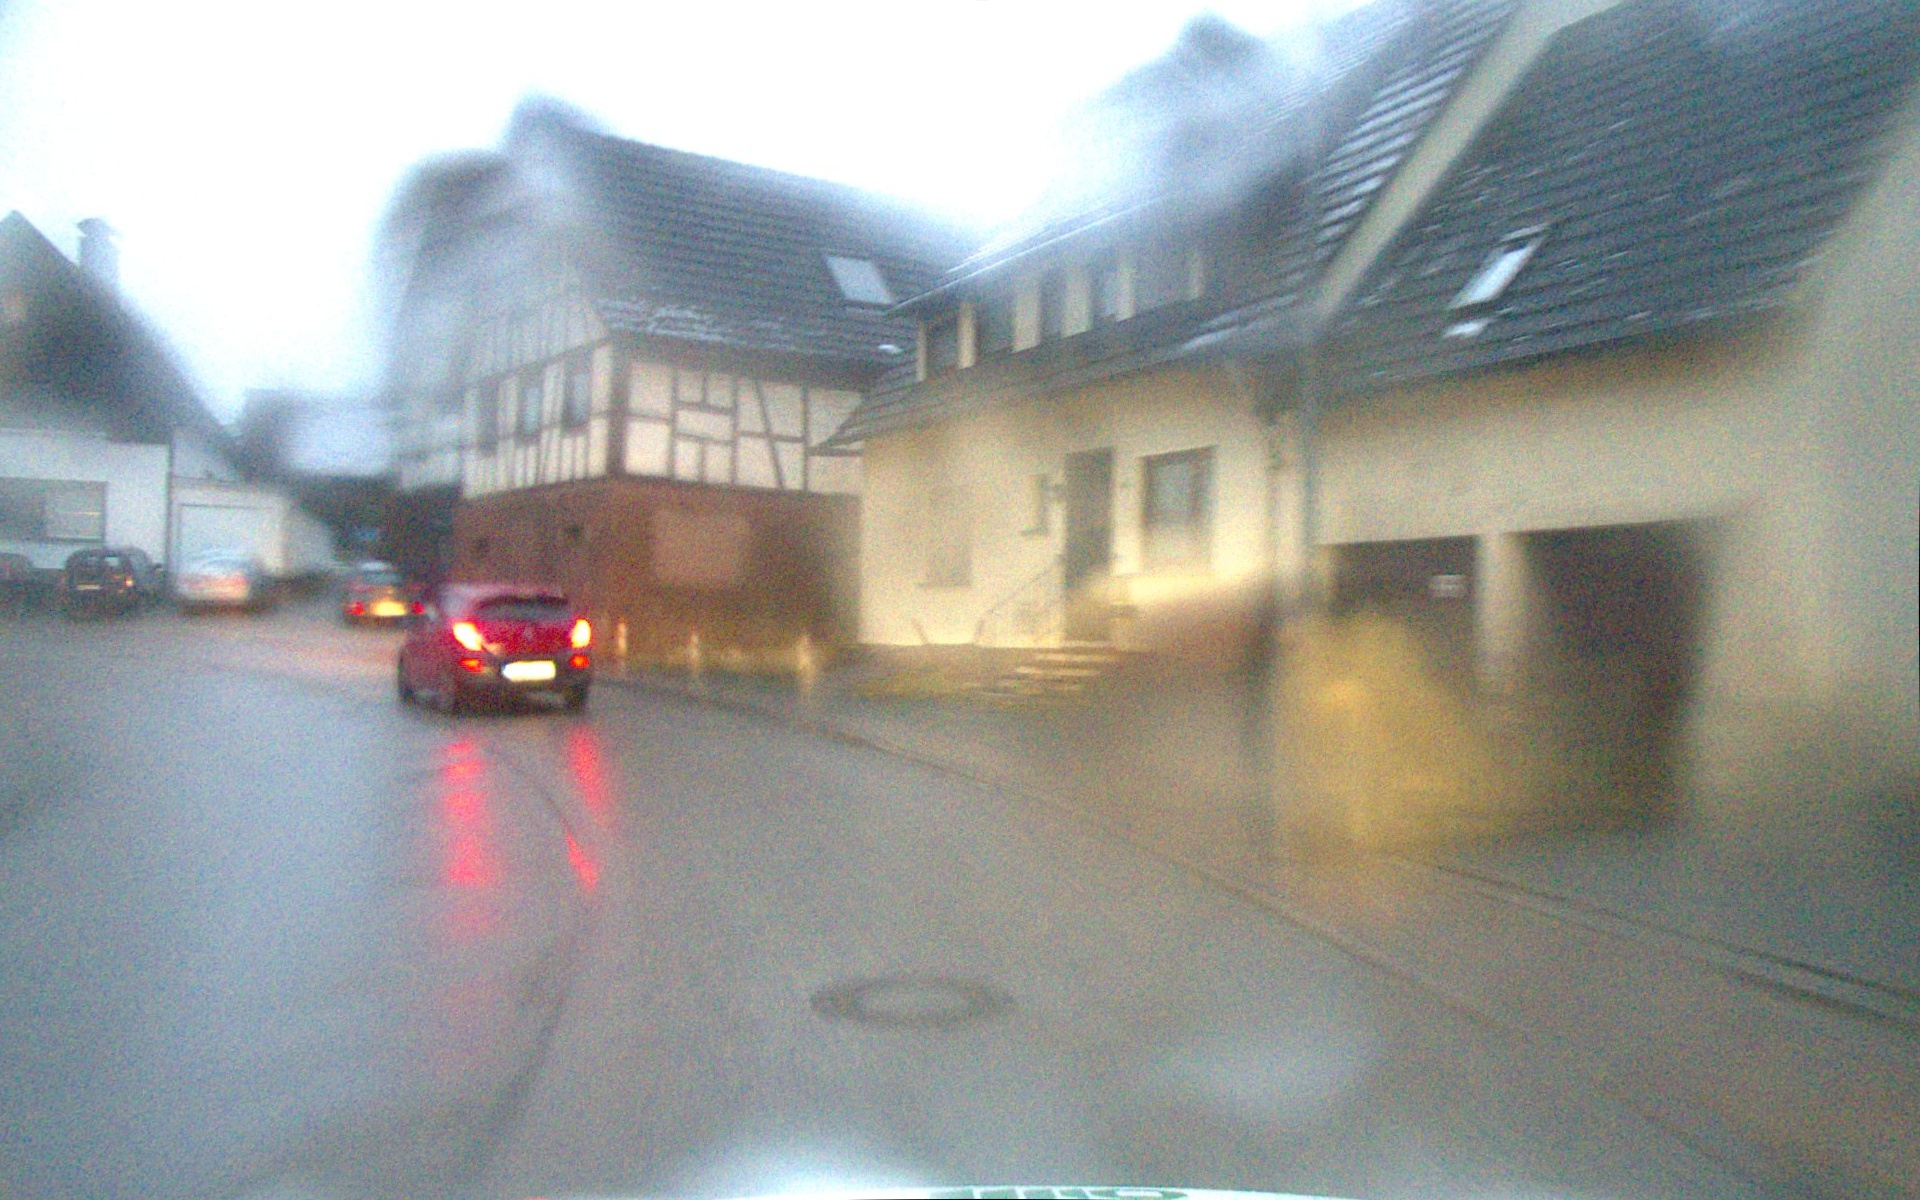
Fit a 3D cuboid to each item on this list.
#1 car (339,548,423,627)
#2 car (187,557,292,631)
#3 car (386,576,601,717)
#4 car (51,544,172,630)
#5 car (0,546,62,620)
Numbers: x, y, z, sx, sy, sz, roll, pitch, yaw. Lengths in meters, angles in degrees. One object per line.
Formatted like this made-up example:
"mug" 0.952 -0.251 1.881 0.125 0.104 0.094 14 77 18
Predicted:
"car" -13.698 -0.348 39.028 1.571 1.541 3.957 -2 5 -23
"car" -17.137 -0.192 39.499 1.781 1.444 4.021 -1 5 -17
"car" -5.608 0.498 19.612 1.530 1.491 3.660 2 0 -31
"car" -20.168 -0.376 39.488 1.821 1.689 4.456 -1 5 -18
"car" -22.794 -0.439 39.198 1.853 1.474 3.878 -1 5 -17
